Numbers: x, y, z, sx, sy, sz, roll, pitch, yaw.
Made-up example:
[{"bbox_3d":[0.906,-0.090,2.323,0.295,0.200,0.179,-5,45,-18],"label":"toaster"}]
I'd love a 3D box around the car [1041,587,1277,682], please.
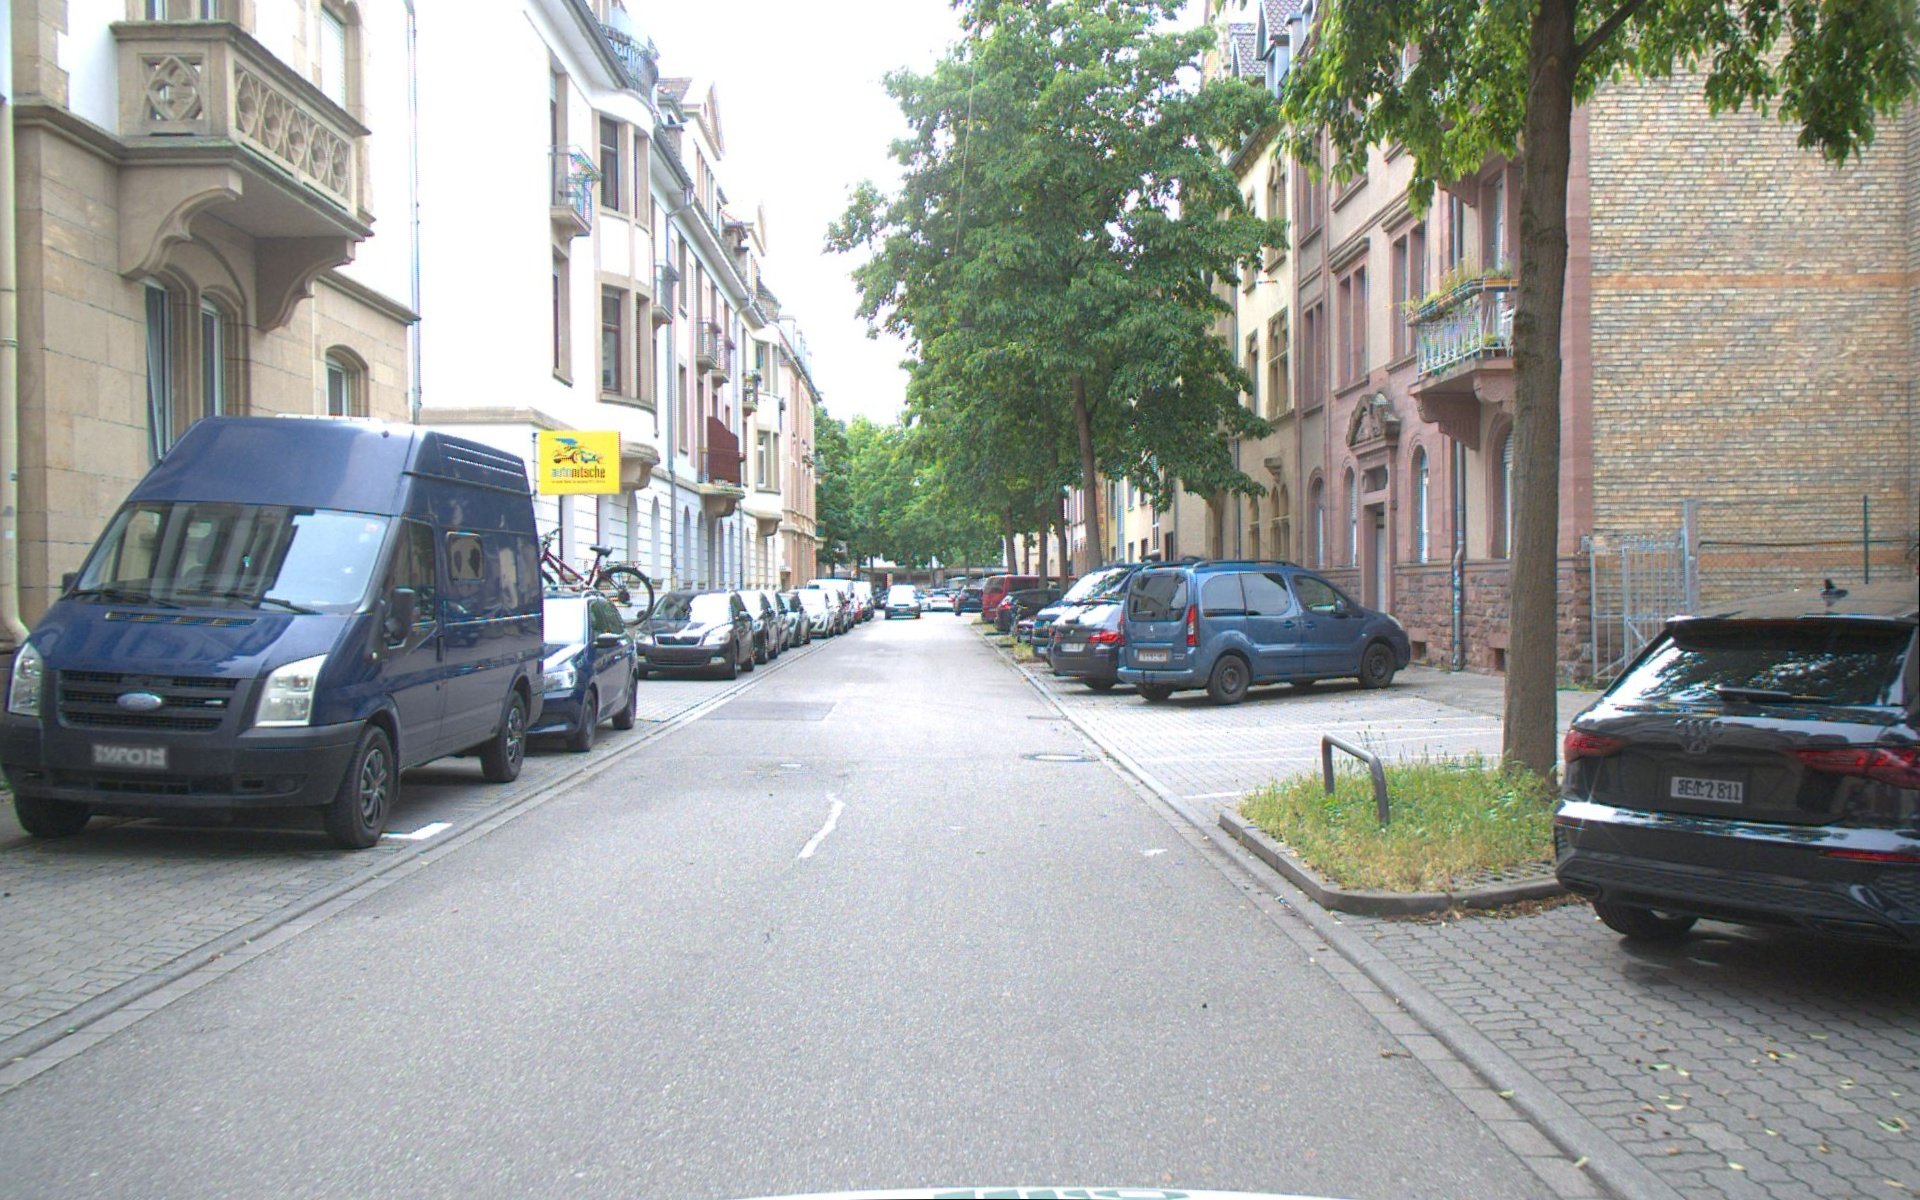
[{"bbox_3d":[3.490,0.560,28.900,3.821,1.525,1.784,-1,0,-30],"label":"car"}]

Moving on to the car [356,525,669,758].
[{"bbox_3d":[-4.382,0.351,17.059,1.953,2.049,4.890,0,0,-1],"label":"car"}]

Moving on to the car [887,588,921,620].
[{"bbox_3d":[-2.975,0.238,88.446,1.784,1.674,3.752,1,-1,-2],"label":"car"}]

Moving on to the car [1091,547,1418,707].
[{"bbox_3d":[4.091,0.337,22.849,4.130,1.902,1.979,-3,0,-31],"label":"car"}]

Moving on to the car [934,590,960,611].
[{"bbox_3d":[-0.966,0.011,123.167,1.832,1.557,3.999,0,0,-2],"label":"car"}]

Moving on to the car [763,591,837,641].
[{"bbox_3d":[-4.943,0.471,51.588,1.953,1.501,3.999,0,0,-1],"label":"car"}]

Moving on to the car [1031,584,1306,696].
[{"bbox_3d":[3.259,0.570,25.658,3.972,1.587,1.864,-1,0,-32],"label":"car"}]

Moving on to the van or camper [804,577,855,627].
[{"bbox_3d":[-5.351,0.077,68.350,1.843,2.002,4.406,0,0,-1],"label":"van or camper"}]

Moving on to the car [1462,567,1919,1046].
[{"bbox_3d":[4.298,0.597,7.026,4.266,1.417,1.900,-3,1,-35],"label":"car"}]

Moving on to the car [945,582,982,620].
[{"bbox_3d":[0.176,0.037,96.045,1.953,2.049,3.999,2,0,-2],"label":"car"}]

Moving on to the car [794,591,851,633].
[{"bbox_3d":[-4.793,0.401,57.961,1.749,1.398,3.507,0,0,-1],"label":"car"}]

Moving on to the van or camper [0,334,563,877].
[{"bbox_3d":[-4.278,0.011,11.046,1.967,2.698,5.315,2,0,-1],"label":"van or camper"}]

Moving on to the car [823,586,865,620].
[{"bbox_3d":[-5.623,0.137,80.552,1.750,1.480,3.887,-4,0,-1],"label":"car"}]

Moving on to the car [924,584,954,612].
[{"bbox_3d":[-1.435,-0.093,113.385,1.953,1.825,3.998,1,-1,-2],"label":"car"}]

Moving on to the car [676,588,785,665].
[{"bbox_3d":[-4.726,0.508,34.530,1.792,1.451,3.800,2,0,-2],"label":"car"}]

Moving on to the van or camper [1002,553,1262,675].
[{"bbox_3d":[3.312,0.231,31.555,4.729,2.175,2.033,-1,0,-32],"label":"van or camper"}]

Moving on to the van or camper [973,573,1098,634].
[{"bbox_3d":[2.713,0.106,59.264,4.101,2.122,1.934,0,0,-29],"label":"van or camper"}]

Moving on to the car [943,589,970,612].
[{"bbox_3d":[-0.234,0.026,118.675,1.832,1.557,3.839,0,0,-2],"label":"car"}]

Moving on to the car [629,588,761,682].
[{"bbox_3d":[-4.532,0.562,28.806,1.753,1.506,4.021,0,0,-2],"label":"car"}]

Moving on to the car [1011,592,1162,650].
[{"bbox_3d":[3.208,0.523,42.392,3.639,1.433,1.573,-1,0,-7],"label":"car"}]

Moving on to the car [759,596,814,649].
[{"bbox_3d":[-4.620,0.582,44.310,1.185,1.332,3.259,-1,0,-2],"label":"car"}]

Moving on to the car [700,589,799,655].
[{"bbox_3d":[-4.971,0.488,39.479,1.908,1.427,3.999,2,0,-2],"label":"car"}]

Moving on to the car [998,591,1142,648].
[{"bbox_3d":[2.985,0.525,45.204,3.689,1.490,1.727,0,0,-7],"label":"car"}]

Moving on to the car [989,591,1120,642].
[{"bbox_3d":[2.802,0.476,49.604,3.689,1.490,1.727,0,0,-7],"label":"car"}]

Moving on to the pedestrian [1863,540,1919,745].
[{"bbox_3d":[7.533,0.324,12.978,0.565,1.567,0.580,0,0,-2],"label":"pedestrian"}]

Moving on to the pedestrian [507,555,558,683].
[{"bbox_3d":[-5.989,0.263,23.207,0.534,1.770,0.655,1,0,-3],"label":"pedestrian"}]
